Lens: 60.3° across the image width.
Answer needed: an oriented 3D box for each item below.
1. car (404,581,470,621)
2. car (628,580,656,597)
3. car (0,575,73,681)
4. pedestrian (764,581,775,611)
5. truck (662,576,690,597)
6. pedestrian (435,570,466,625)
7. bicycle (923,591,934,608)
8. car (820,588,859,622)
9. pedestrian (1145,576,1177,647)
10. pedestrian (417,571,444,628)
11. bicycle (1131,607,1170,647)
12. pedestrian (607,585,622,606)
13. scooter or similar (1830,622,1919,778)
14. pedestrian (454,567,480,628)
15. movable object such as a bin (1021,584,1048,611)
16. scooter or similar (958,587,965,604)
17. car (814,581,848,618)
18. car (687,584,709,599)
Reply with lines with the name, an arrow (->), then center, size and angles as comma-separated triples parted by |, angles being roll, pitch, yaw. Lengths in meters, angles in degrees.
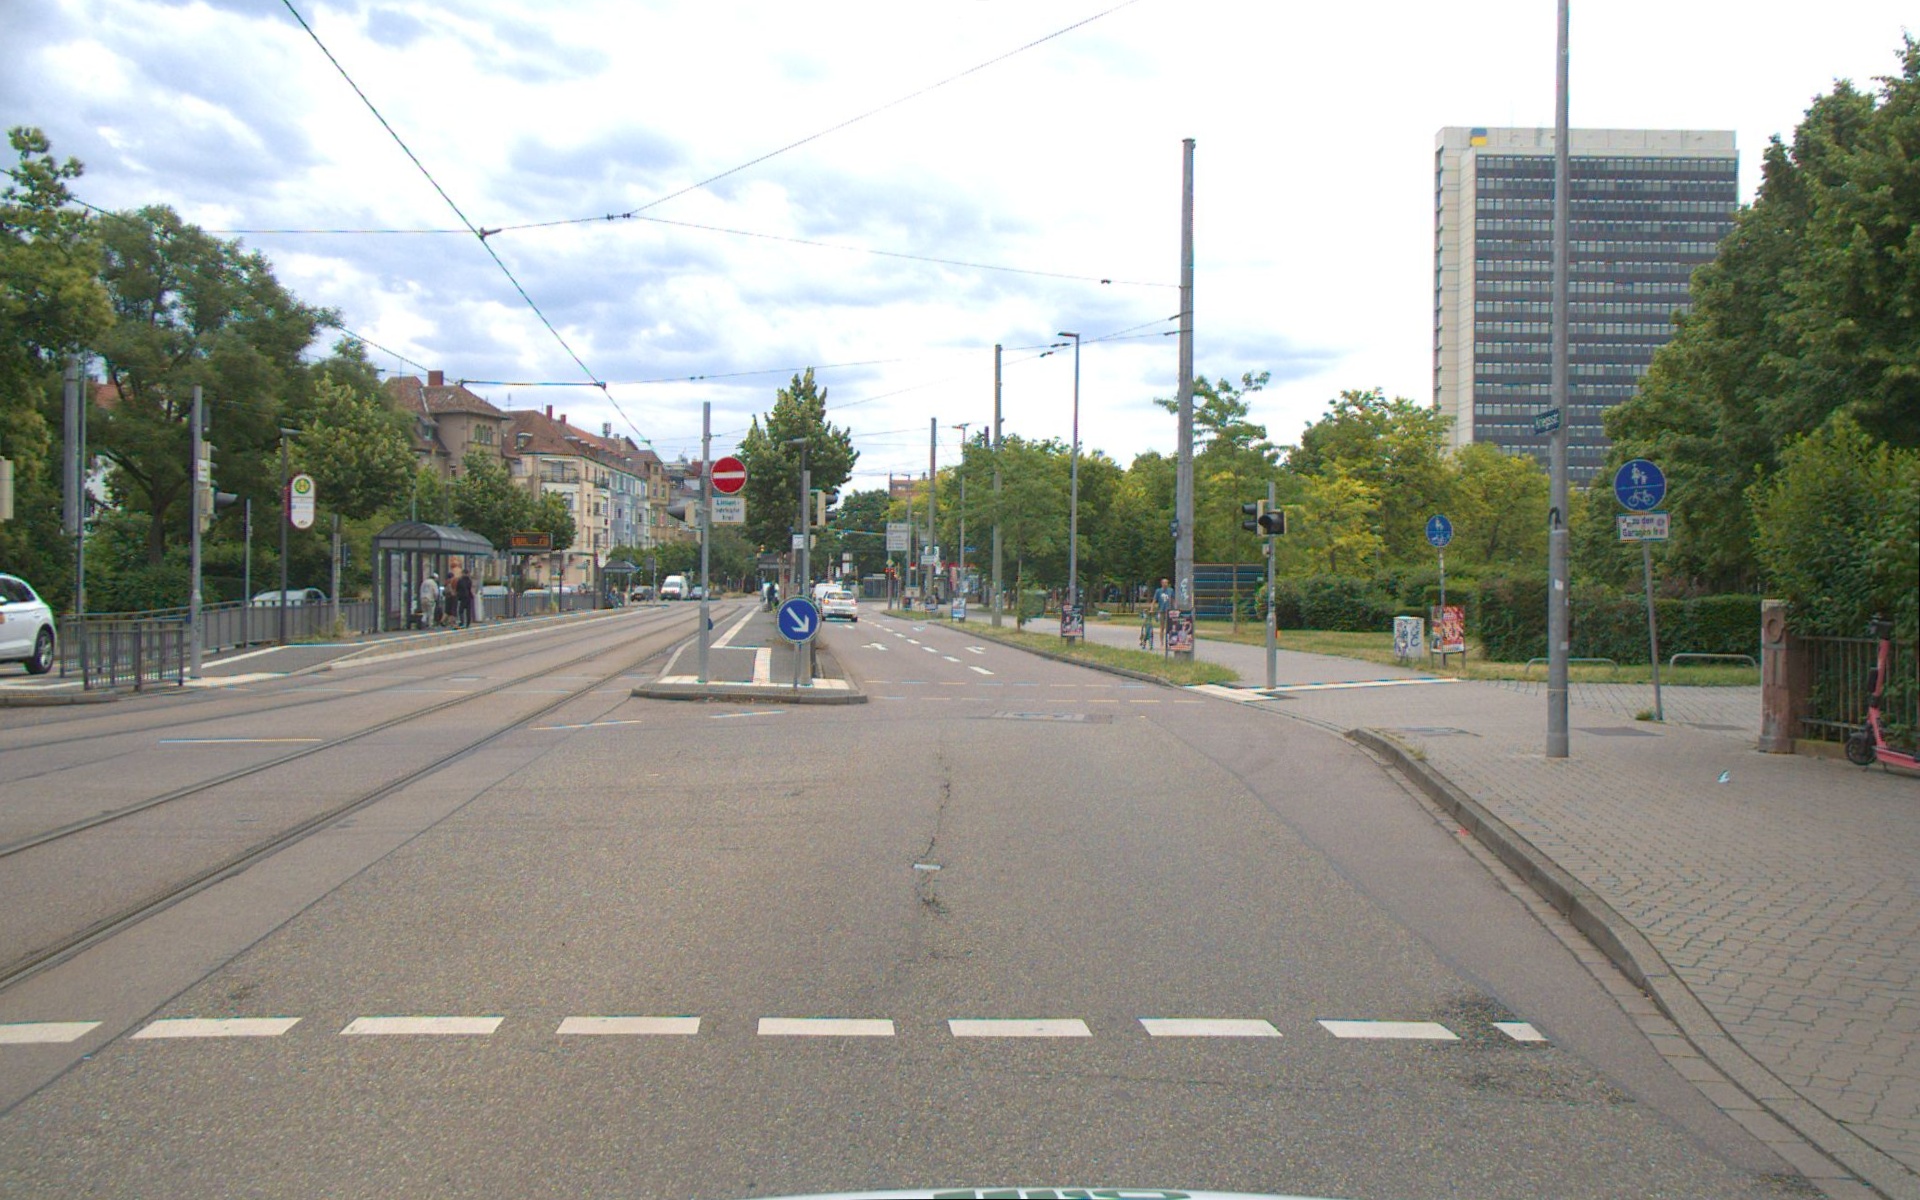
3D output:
car -> -20.536, 0.040, 65.073 | 1.736, 1.519, 3.881 | 1, 0, -6
car -> -29.143, -1.078, 151.601 | 1.734, 1.519, 3.887 | 1, 0, 0
car -> -15.965, 0.428, 26.369 | 1.737, 1.668, 4.529 | 1, 0, -8
pedestrian -> -10.158, -0.207, 88.041 | 0.521, 1.585, 0.570 | 0, 0, -3
truck -> -28.077, -1.331, 163.702 | 1.751, 2.068, 5.395 | 1, 0, 0
pedestrian -> -15.619, -0.081, 50.749 | 0.754, 1.689, 1.023 | 0, 0, -9
bicycle -> -2.200, -0.060, 114.562 | 0.665, 1.175, 1.897 | 0, 1, -4
car -> -5.666, 0.227, 77.645 | 1.747, 1.498, 4.006 | 1, 1, -5
pedestrian -> 5.379, 0.300, 44.259 | 0.725, 1.902, 0.681 | 0, 0, -7
pedestrian -> -15.424, -0.014, 48.179 | 0.665, 1.652, 0.632 | 0, 0, -10
bicycle -> 5.089, 0.717, 44.235 | 0.642, 1.020, 1.777 | 0, 0, -6
pedestrian -> -21.586, -0.280, 103.327 | 0.848, 1.289, 0.692 | 0, 0, -9
scooter or similar -> 7.392, 0.763, 12.971 | 0.369, 1.161, 1.197 | 0, 0, -9
pedestrian -> -14.211, -0.076, 47.718 | 0.688, 1.745, 0.696 | 0, 0, -15
movable object such as a bin -> 3.957, -0.125, 88.197 | 1.257, 1.414, 1.158 | 1, 0, -6
scooter or similar -> 0.124, -0.293, 114.118 | 0.368, 1.161, 1.200 | 0, 0, 4
car -> -7.345, -0.047, 93.782 | 1.748, 1.997, 4.376 | 1, 1, -7
car -> -28.037, -0.893, 177.233 | 1.734, 1.519, 3.887 | 1, 0, 0
